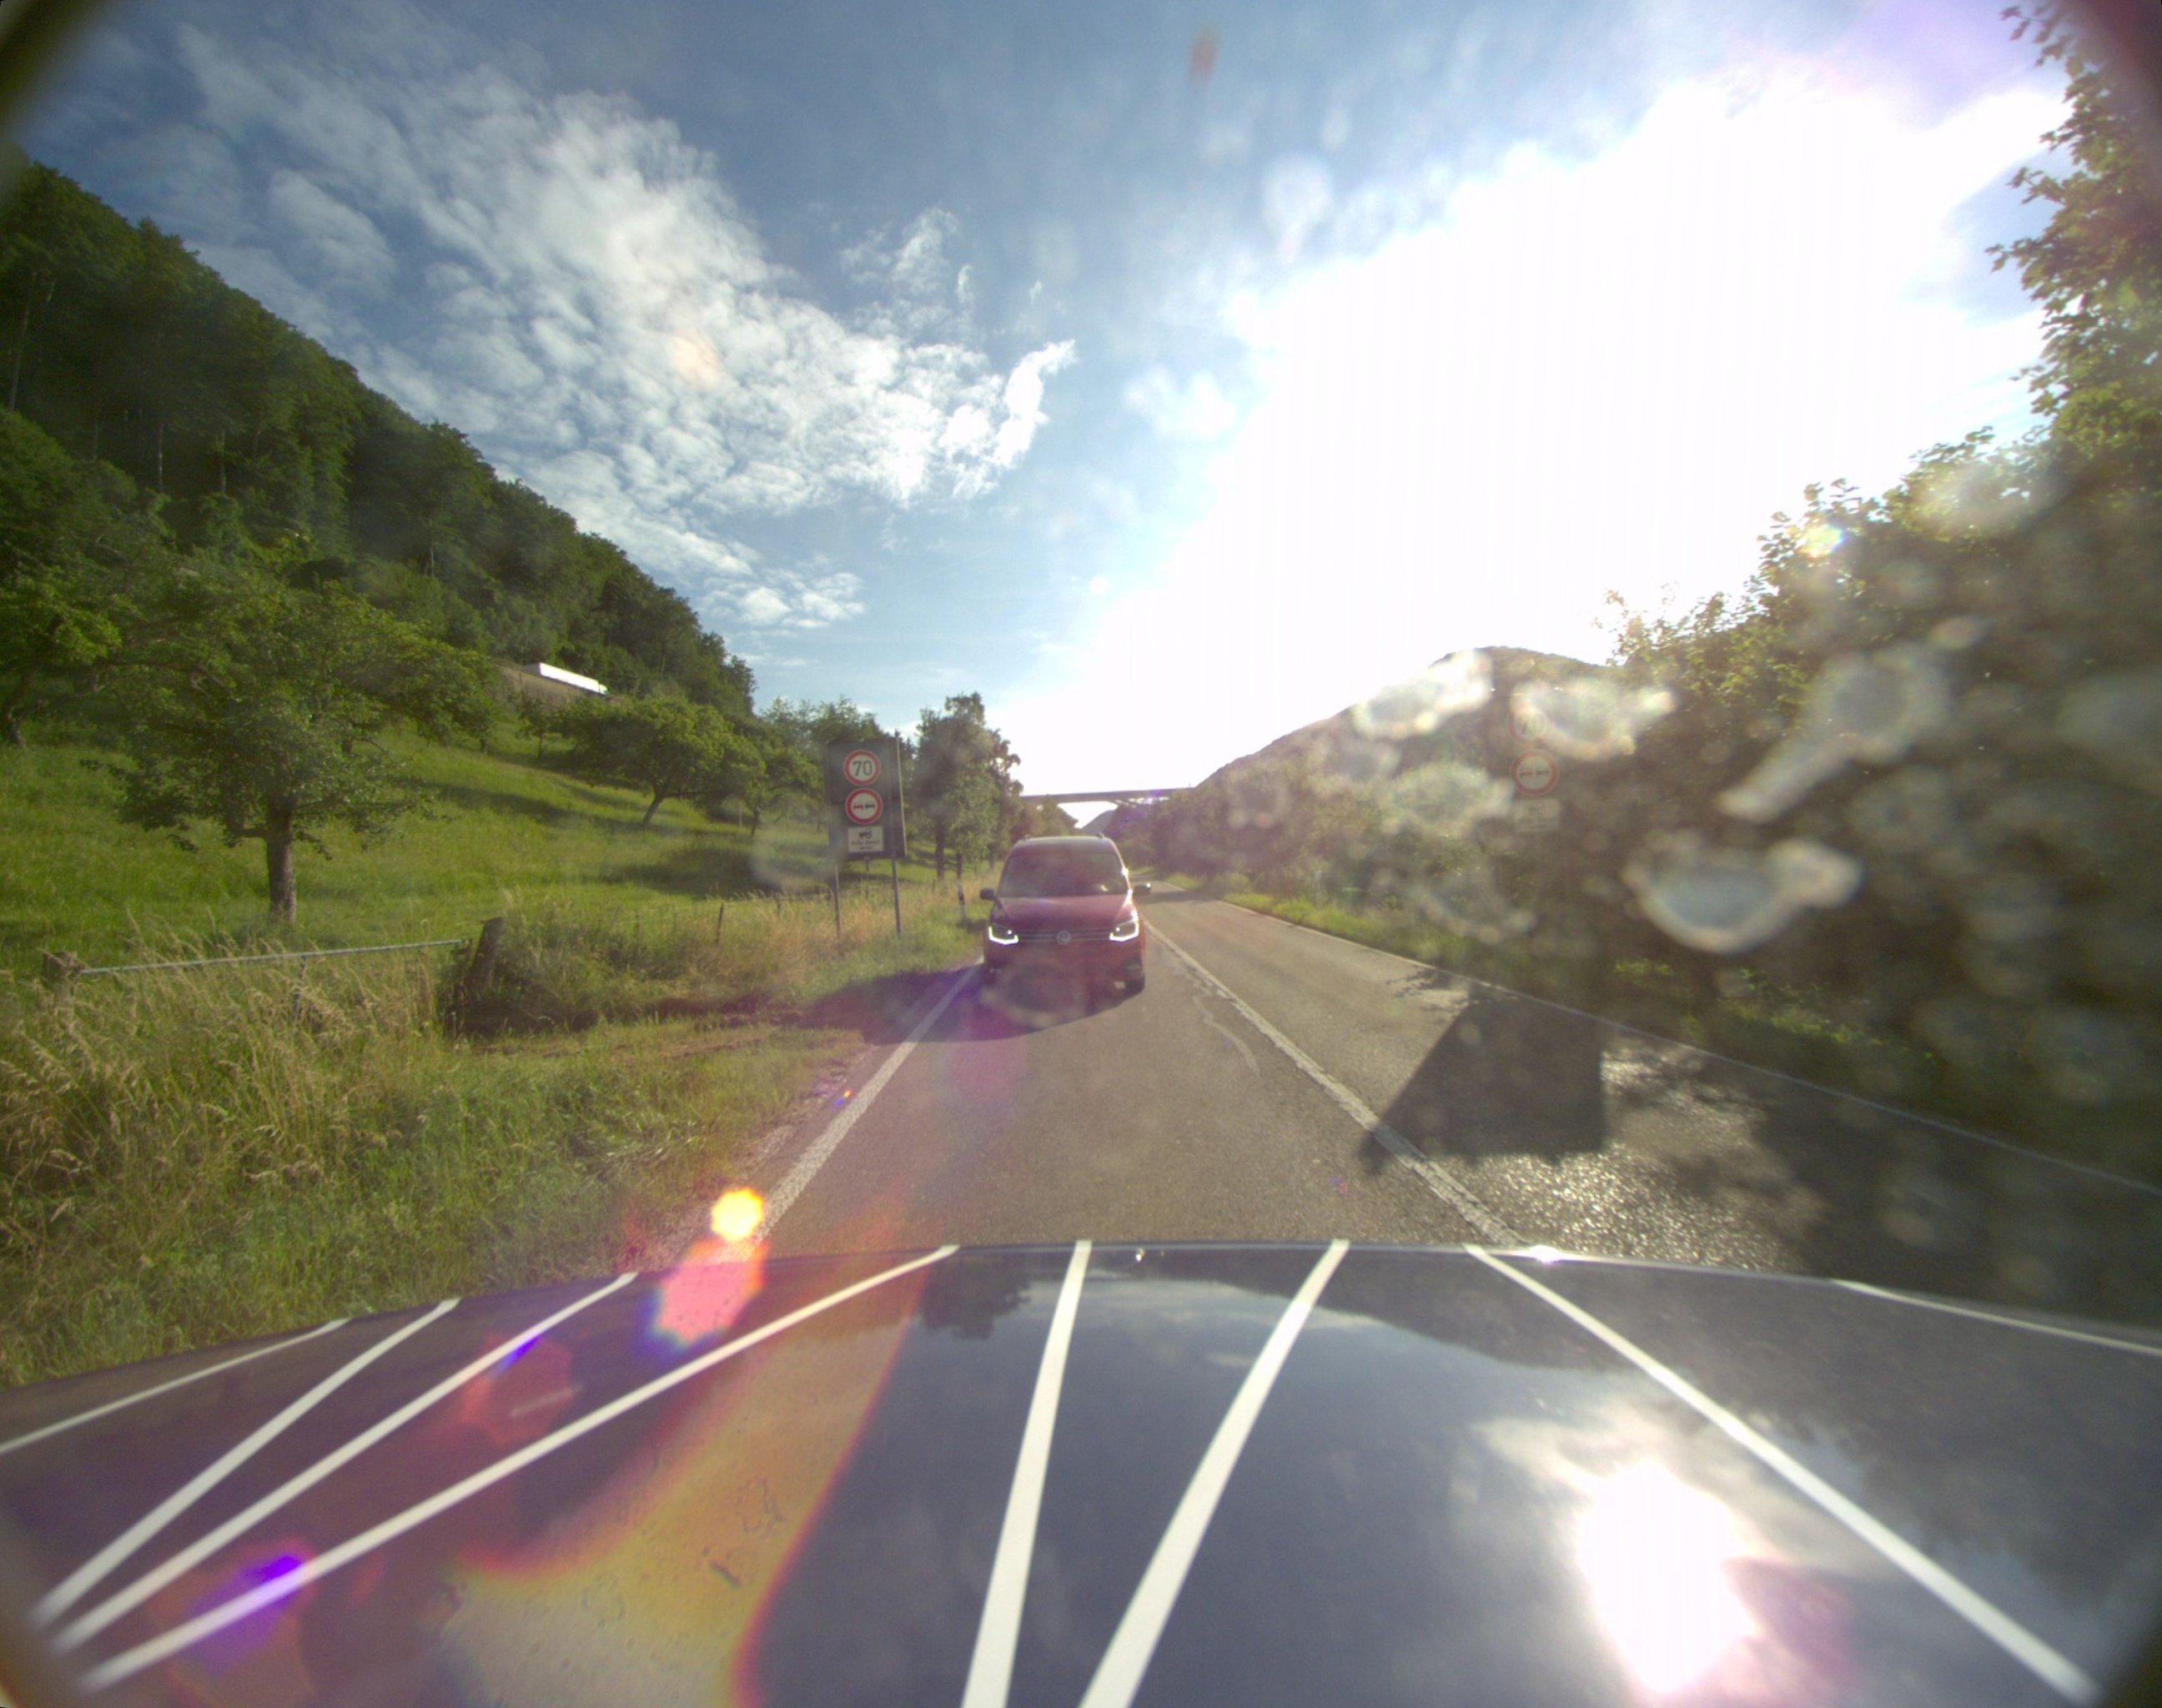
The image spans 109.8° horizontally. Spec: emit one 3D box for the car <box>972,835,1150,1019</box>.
[{"bbox_3d":[-0.235,0.729,9.586,1.741,1.803,3.999,-1,0,-1],"label":"car"}]

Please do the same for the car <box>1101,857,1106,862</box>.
[{"bbox_3d":[7.698,1.841,257.485,1.696,1.401,3.663,-1,0,1],"label":"car"}]
